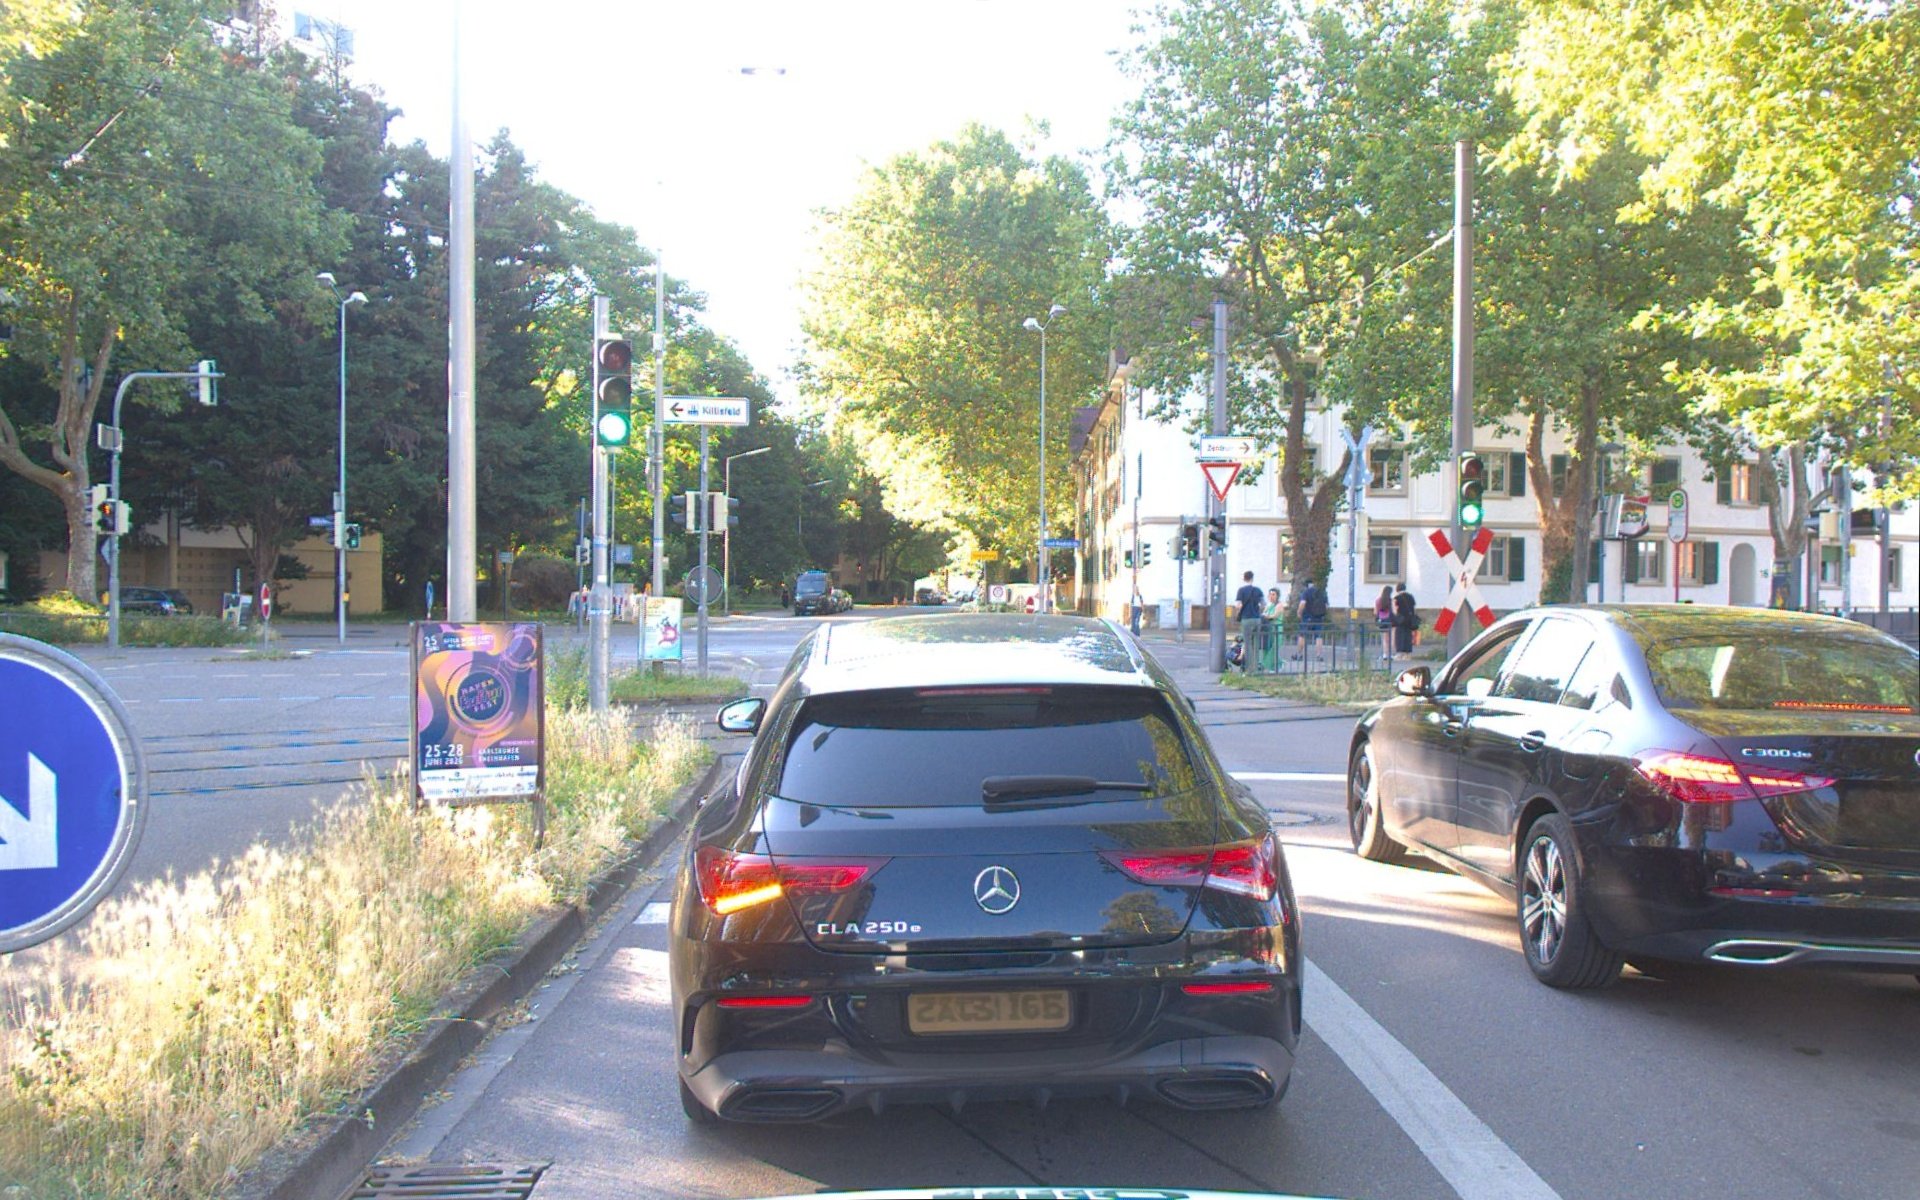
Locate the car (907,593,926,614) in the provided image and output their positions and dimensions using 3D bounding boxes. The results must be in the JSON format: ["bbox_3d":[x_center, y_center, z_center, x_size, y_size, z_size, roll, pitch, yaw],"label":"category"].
[{"bbox_3d":[-3.957,0.329,150.314,1.698,1.796,4.018,1,0,-1],"label":"car"}]

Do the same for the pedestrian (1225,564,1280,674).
[{"bbox_3d":[5.276,0.346,29.839,0.696,1.951,0.679,1,-1,-26],"label":"pedestrian"}]

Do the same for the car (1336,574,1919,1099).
[{"bbox_3d":[3.130,0.714,7.321,1.851,1.516,4.381,1,2,-1],"label":"car"}]

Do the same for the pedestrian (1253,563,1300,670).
[{"bbox_3d":[5.884,0.306,30.761,0.669,1.951,0.706,1,-1,-5],"label":"pedestrian"}]

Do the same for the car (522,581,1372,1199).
[{"bbox_3d":[-0.014,0.745,5.645,1.851,1.475,4.001,1,2,0],"label":"car"}]

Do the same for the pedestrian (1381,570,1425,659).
[{"bbox_3d":[9.857,0.318,36.811,0.691,1.951,0.838,1,-1,-4],"label":"pedestrian"}]

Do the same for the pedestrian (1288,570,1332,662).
[{"bbox_3d":[7.538,0.351,35.643,0.691,1.951,0.838,1,-1,-4],"label":"pedestrian"}]

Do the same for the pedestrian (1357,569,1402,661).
[{"bbox_3d":[9.067,0.330,35.799,0.691,1.951,0.838,1,-1,-4],"label":"pedestrian"}]

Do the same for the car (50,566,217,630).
[{"bbox_3d":[-24.378,-0.061,48.846,3.902,1.805,2.001,1,0,7],"label":"car"}]

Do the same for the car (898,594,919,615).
[{"bbox_3d":[-4.531,0.360,145.485,1.698,1.796,4.018,1,0,-1],"label":"car"}]

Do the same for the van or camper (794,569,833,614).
[{"bbox_3d":[-8.795,-0.478,99.608,1.953,2.586,4.650,1,0,-1],"label":"van or camper"}]

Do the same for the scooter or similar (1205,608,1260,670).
[{"bbox_3d":[5.060,0.717,30.775,0.812,1.124,0.808,1,0,-6],"label":"scooter or similar"}]

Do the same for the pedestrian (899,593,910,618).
[{"bbox_3d":[-4.367,0.464,129.949,0.692,1.951,0.837,1,-1,-11],"label":"pedestrian"}]

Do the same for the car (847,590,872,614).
[{"bbox_3d":[-7.648,0.163,126.285,1.698,1.796,3.970,1,0,-1],"label":"car"}]

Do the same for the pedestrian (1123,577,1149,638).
[{"bbox_3d":[5.770,0.251,54.217,0.691,1.951,0.838,1,-1,-4],"label":"pedestrian"}]

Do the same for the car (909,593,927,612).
[{"bbox_3d":[-4.005,0.218,158.398,1.698,1.796,4.018,1,0,-1],"label":"car"}]

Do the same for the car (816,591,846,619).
[{"bbox_3d":[-8.535,0.329,109.621,1.698,1.796,4.340,1,0,-1],"label":"car"}]

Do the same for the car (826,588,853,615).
[{"bbox_3d":[-8.474,0.107,116.543,1.698,1.796,4.084,1,0,-1],"label":"car"}]
